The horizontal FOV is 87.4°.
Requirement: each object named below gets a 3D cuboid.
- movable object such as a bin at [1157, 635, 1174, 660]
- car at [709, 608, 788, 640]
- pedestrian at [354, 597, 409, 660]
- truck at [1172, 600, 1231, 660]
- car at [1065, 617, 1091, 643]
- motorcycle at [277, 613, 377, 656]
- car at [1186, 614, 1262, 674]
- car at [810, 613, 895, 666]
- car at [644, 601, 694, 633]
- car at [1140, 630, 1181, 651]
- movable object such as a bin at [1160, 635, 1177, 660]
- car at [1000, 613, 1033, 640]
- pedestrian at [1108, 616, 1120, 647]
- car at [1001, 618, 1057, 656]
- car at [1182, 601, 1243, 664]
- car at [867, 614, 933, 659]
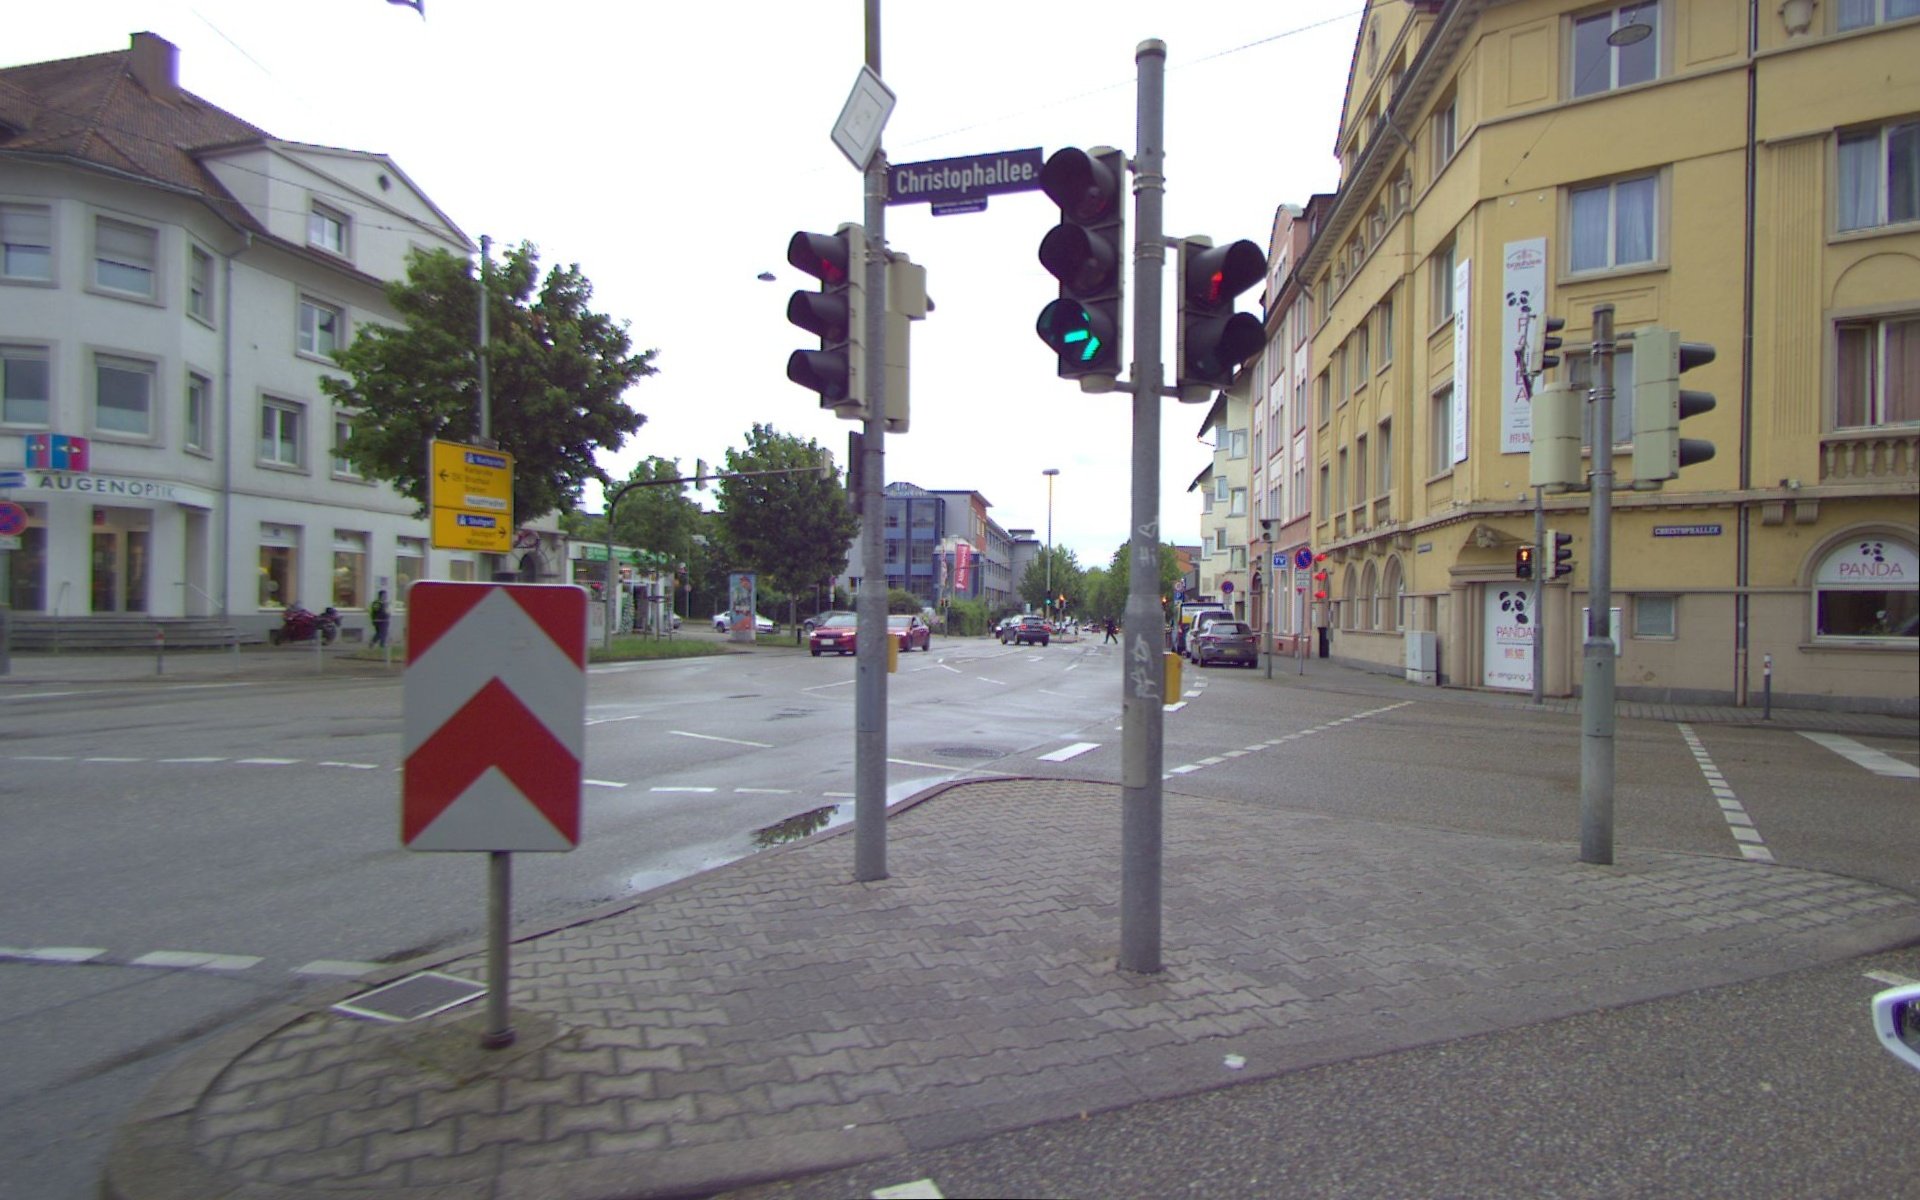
[{"bbox_3d":[11.341,2.627,55.478,0.735,1.247,0.984,6,0,8],"label":"movable object such as a bin"},{"bbox_3d":[-12.928,1.443,61.388,4.467,1.818,1.997,1,0,29],"label":"car"},{"bbox_3d":[-16.332,0.783,28.375,0.945,1.731,0.935,1,0,7],"label":"pedestrian"},{"bbox_3d":[10.500,1.280,44.008,1.991,2.421,4.239,2,0,7],"label":"truck"},{"bbox_3d":[9.790,2.480,83.263,1.959,2.040,4.003,1,-1,9],"label":"car"},{"bbox_3d":[-18.412,0.991,29.304,0.707,1.194,2.590,1,-1,17],"label":"motorcycle"},{"bbox_3d":[8.206,1.326,31.567,1.846,1.659,4.002,1,0,8],"label":"car"},{"bbox_3d":[-3.665,1.332,34.814,1.813,1.706,4.003,0,-1,11],"label":"car"},{"bbox_3d":[-19.449,1.133,66.955,1.981,2.040,3.959,2,-1,-36],"label":"car"},{"bbox_3d":[22.029,4.446,110.367,3.923,2.040,1.999,4,0,-3],"label":"car"},{"bbox_3d":[11.197,2.562,54.035,0.735,1.247,0.984,6,0,8],"label":"movable object such as a bin"},{"bbox_3d":[4.498,2.099,79.394,1.959,2.040,4.003,1,-1,13],"label":"car"},{"bbox_3d":[10.024,2.055,65.439,0.710,1.962,0.793,1,-1,6],"label":"pedestrian"},{"bbox_3d":[3.524,1.894,52.144,1.964,1.840,3.993,2,-1,-10],"label":"car"},{"bbox_3d":[9.562,1.198,38.282,1.732,2.209,4.002,2,0,7],"label":"car"},{"bbox_3d":[-2.327,1.423,39.951,1.733,1.656,3.627,1,-1,11],"label":"car"}]
